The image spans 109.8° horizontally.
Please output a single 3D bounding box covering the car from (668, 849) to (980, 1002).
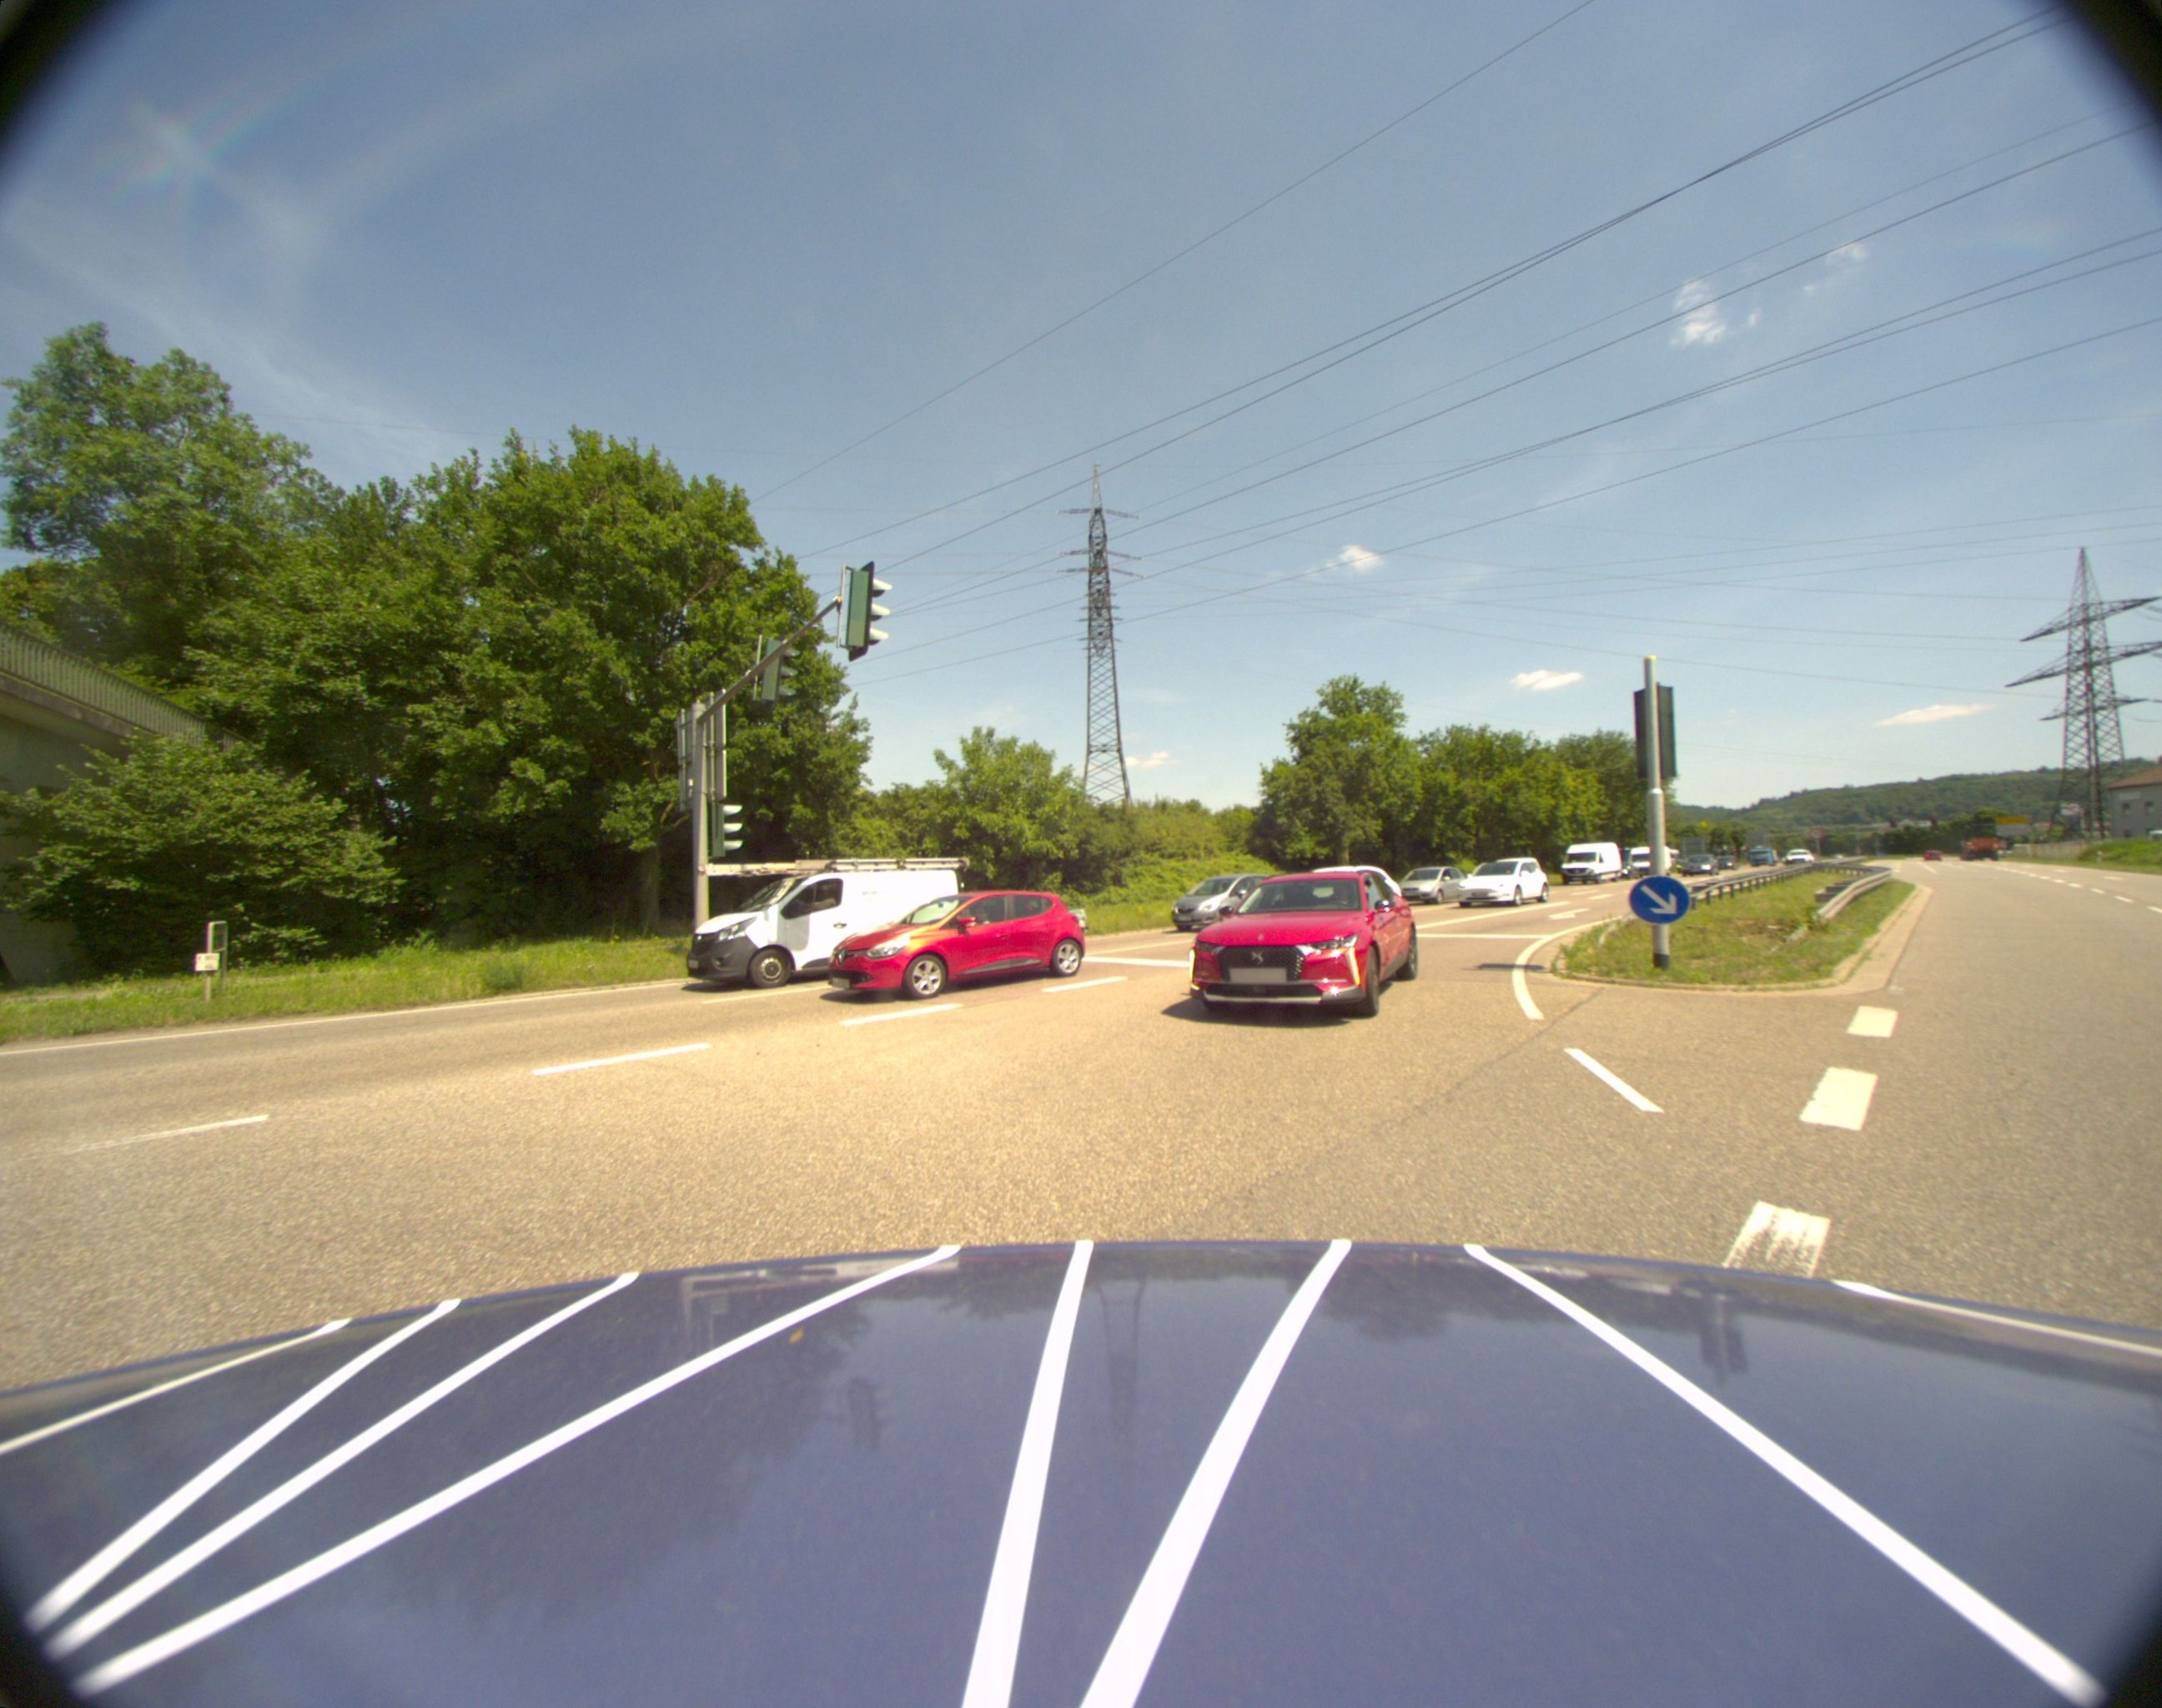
[{"bbox_3d":[-4.589,1.161,14.177,5.085,2.334,1.934,-1,-3,-43],"label":"car"}]

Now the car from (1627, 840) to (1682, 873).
[{"bbox_3d":[45.953,0.190,60.808,5.826,2.407,2.305,-1,-3,-42],"label":"car"}]

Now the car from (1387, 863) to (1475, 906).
[{"bbox_3d":[14.841,1.263,32.137,4.281,1.584,1.744,-1,-3,-43],"label":"car"}]

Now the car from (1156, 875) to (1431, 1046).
[{"bbox_3d":[2.784,1.054,9.090,1.843,1.452,4.423,-5,-3,33],"label":"car"}]

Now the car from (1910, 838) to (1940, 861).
[{"bbox_3d":[118.890,-0.657,107.138,5.650,3.042,2.602,-1,-1,-44],"label":"car"}]

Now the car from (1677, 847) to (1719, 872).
[{"bbox_3d":[45.759,0.390,56.304,4.008,1.673,1.875,-2,-3,-45],"label":"car"}]

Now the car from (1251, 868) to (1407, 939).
[{"bbox_3d":[6.508,1.230,19.679,4.372,1.558,1.847,-1,-3,-43],"label":"car"}]

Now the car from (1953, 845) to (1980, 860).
[{"bbox_3d":[125.349,-0.243,107.593,1.995,1.903,4.008,-5,-2,43],"label":"car"}]

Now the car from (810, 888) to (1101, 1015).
[{"bbox_3d":[-1.771,1.356,11.638,4.073,1.452,1.744,-1,-3,-44],"label":"car"}]

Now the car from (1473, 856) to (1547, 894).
[{"bbox_3d":[22.360,1.060,39.505,5.048,1.789,1.806,-1,-3,-43],"label":"car"}]

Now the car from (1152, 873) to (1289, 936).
[{"bbox_3d":[4.189,1.442,22.424,4.173,1.586,1.766,-1,-2,-42],"label":"car"}]

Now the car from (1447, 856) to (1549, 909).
[{"bbox_3d":[15.083,0.998,27.412,4.008,1.671,2.019,-1,-3,-44],"label":"car"}]

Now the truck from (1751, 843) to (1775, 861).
[{"bbox_3d":[98.562,-0.308,109.758,4.920,2.426,2.166,-2,-2,-45],"label":"truck"}]

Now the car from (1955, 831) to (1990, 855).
[{"bbox_3d":[118.818,-1.454,101.342,5.650,3.042,2.602,-1,-1,-44],"label":"car"}]

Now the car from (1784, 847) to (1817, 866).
[{"bbox_3d":[70.443,0.276,74.383,4.008,1.752,1.995,-1,-1,-41],"label":"car"}]

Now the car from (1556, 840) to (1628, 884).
[{"bbox_3d":[33.184,0.496,49.235,7.033,2.590,2.229,-1,-3,-43],"label":"car"}]

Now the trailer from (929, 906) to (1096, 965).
[{"bbox_3d":[-1.487,1.772,17.042,3.330,1.000,1.707,-1,-3,-43],"label":"trailer"}]
